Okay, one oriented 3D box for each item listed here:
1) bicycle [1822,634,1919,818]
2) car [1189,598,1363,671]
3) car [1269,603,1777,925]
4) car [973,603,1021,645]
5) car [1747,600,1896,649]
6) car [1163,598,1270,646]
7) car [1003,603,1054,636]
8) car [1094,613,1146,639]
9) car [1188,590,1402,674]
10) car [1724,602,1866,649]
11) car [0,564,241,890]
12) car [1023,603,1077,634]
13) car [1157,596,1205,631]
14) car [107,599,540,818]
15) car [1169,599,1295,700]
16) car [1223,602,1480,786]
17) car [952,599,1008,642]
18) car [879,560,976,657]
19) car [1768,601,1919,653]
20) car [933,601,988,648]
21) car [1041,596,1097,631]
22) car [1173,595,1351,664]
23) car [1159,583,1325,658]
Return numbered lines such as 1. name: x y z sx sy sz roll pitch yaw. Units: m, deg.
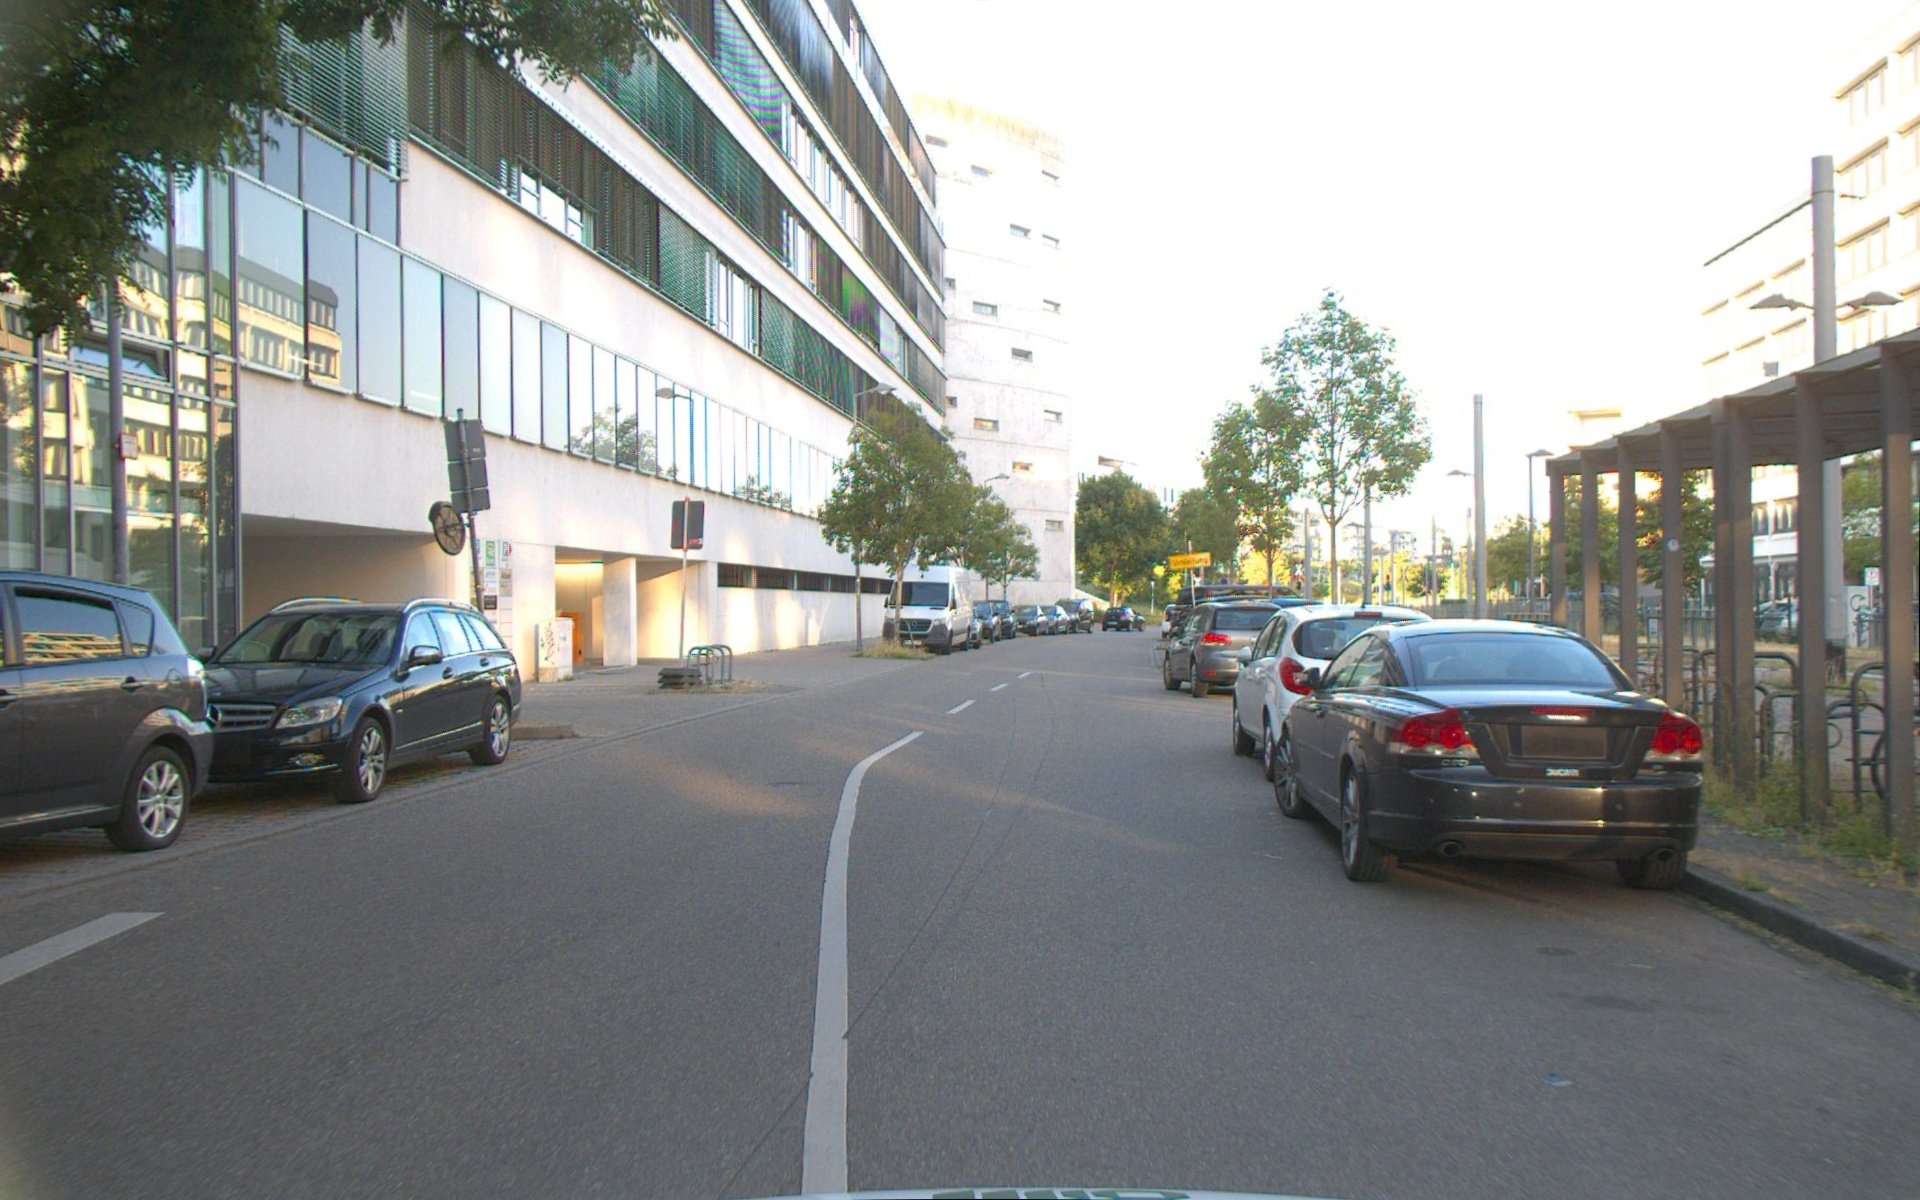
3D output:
1. bicycle: 6.291 0.744 10.068 1.767 1.085 0.488 -1 -1 6
2. car: 7.604 0.829 39.694 3.944 1.623 1.719 2 -1 -30
3. car: 3.041 0.768 9.971 1.749 1.477 4.517 0 0 3
4. car: 1.632 0.994 70.959 1.719 1.682 3.951 1 0 6
5. car: 27.736 0.776 53.334 3.903 1.422 1.593 2 0 5
6. car: 9.748 0.843 62.803 3.721 1.756 1.749 1 0 -27
7. car: 3.311 0.900 79.357 1.686 1.483 4.275 1 0 13
8. car: 9.695 1.548 99.849 1.905 1.407 4.398 2 0 22
9. car: 6.774 0.632 33.427 3.943 1.547 1.909 -1 -1 -29
10. car: 28.039 0.833 55.608 3.903 1.422 1.593 2 0 5
11. car: -5.604 0.625 8.253 1.805 1.599 4.270 0 0 6
12. car: 4.621 0.919 84.615 1.686 1.483 4.696 1 0 17
13. car: 9.931 0.577 74.211 1.686 1.493 3.555 -1 0 14
14. car: -4.899 0.742 13.470 1.679 1.477 4.400 0 0 2
15. car: 4.411 0.779 27.304 1.695 1.491 4.002 1 -1 4
16. car: 3.488 0.768 15.451 1.641 1.477 4.189 0 0 3
17. car: 0.811 0.781 64.967 1.718 1.588 4.046 1 0 7
18. car: -0.891 0.213 49.809 1.917 2.662 6.897 1 0 7
19. car: 26.889 0.820 50.180 3.903 1.422 1.593 2 0 5
20. car: 0.042 0.810 56.287 1.719 1.465 3.902 1 0 2
21. car: 5.969 0.716 89.795 1.721 1.830 4.463 1 0 21
22. car: 8.141 0.786 44.500 4.534 1.779 1.855 1 0 -28
23. car: 8.131 0.595 47.652 4.534 2.071 1.855 1 0 -28
